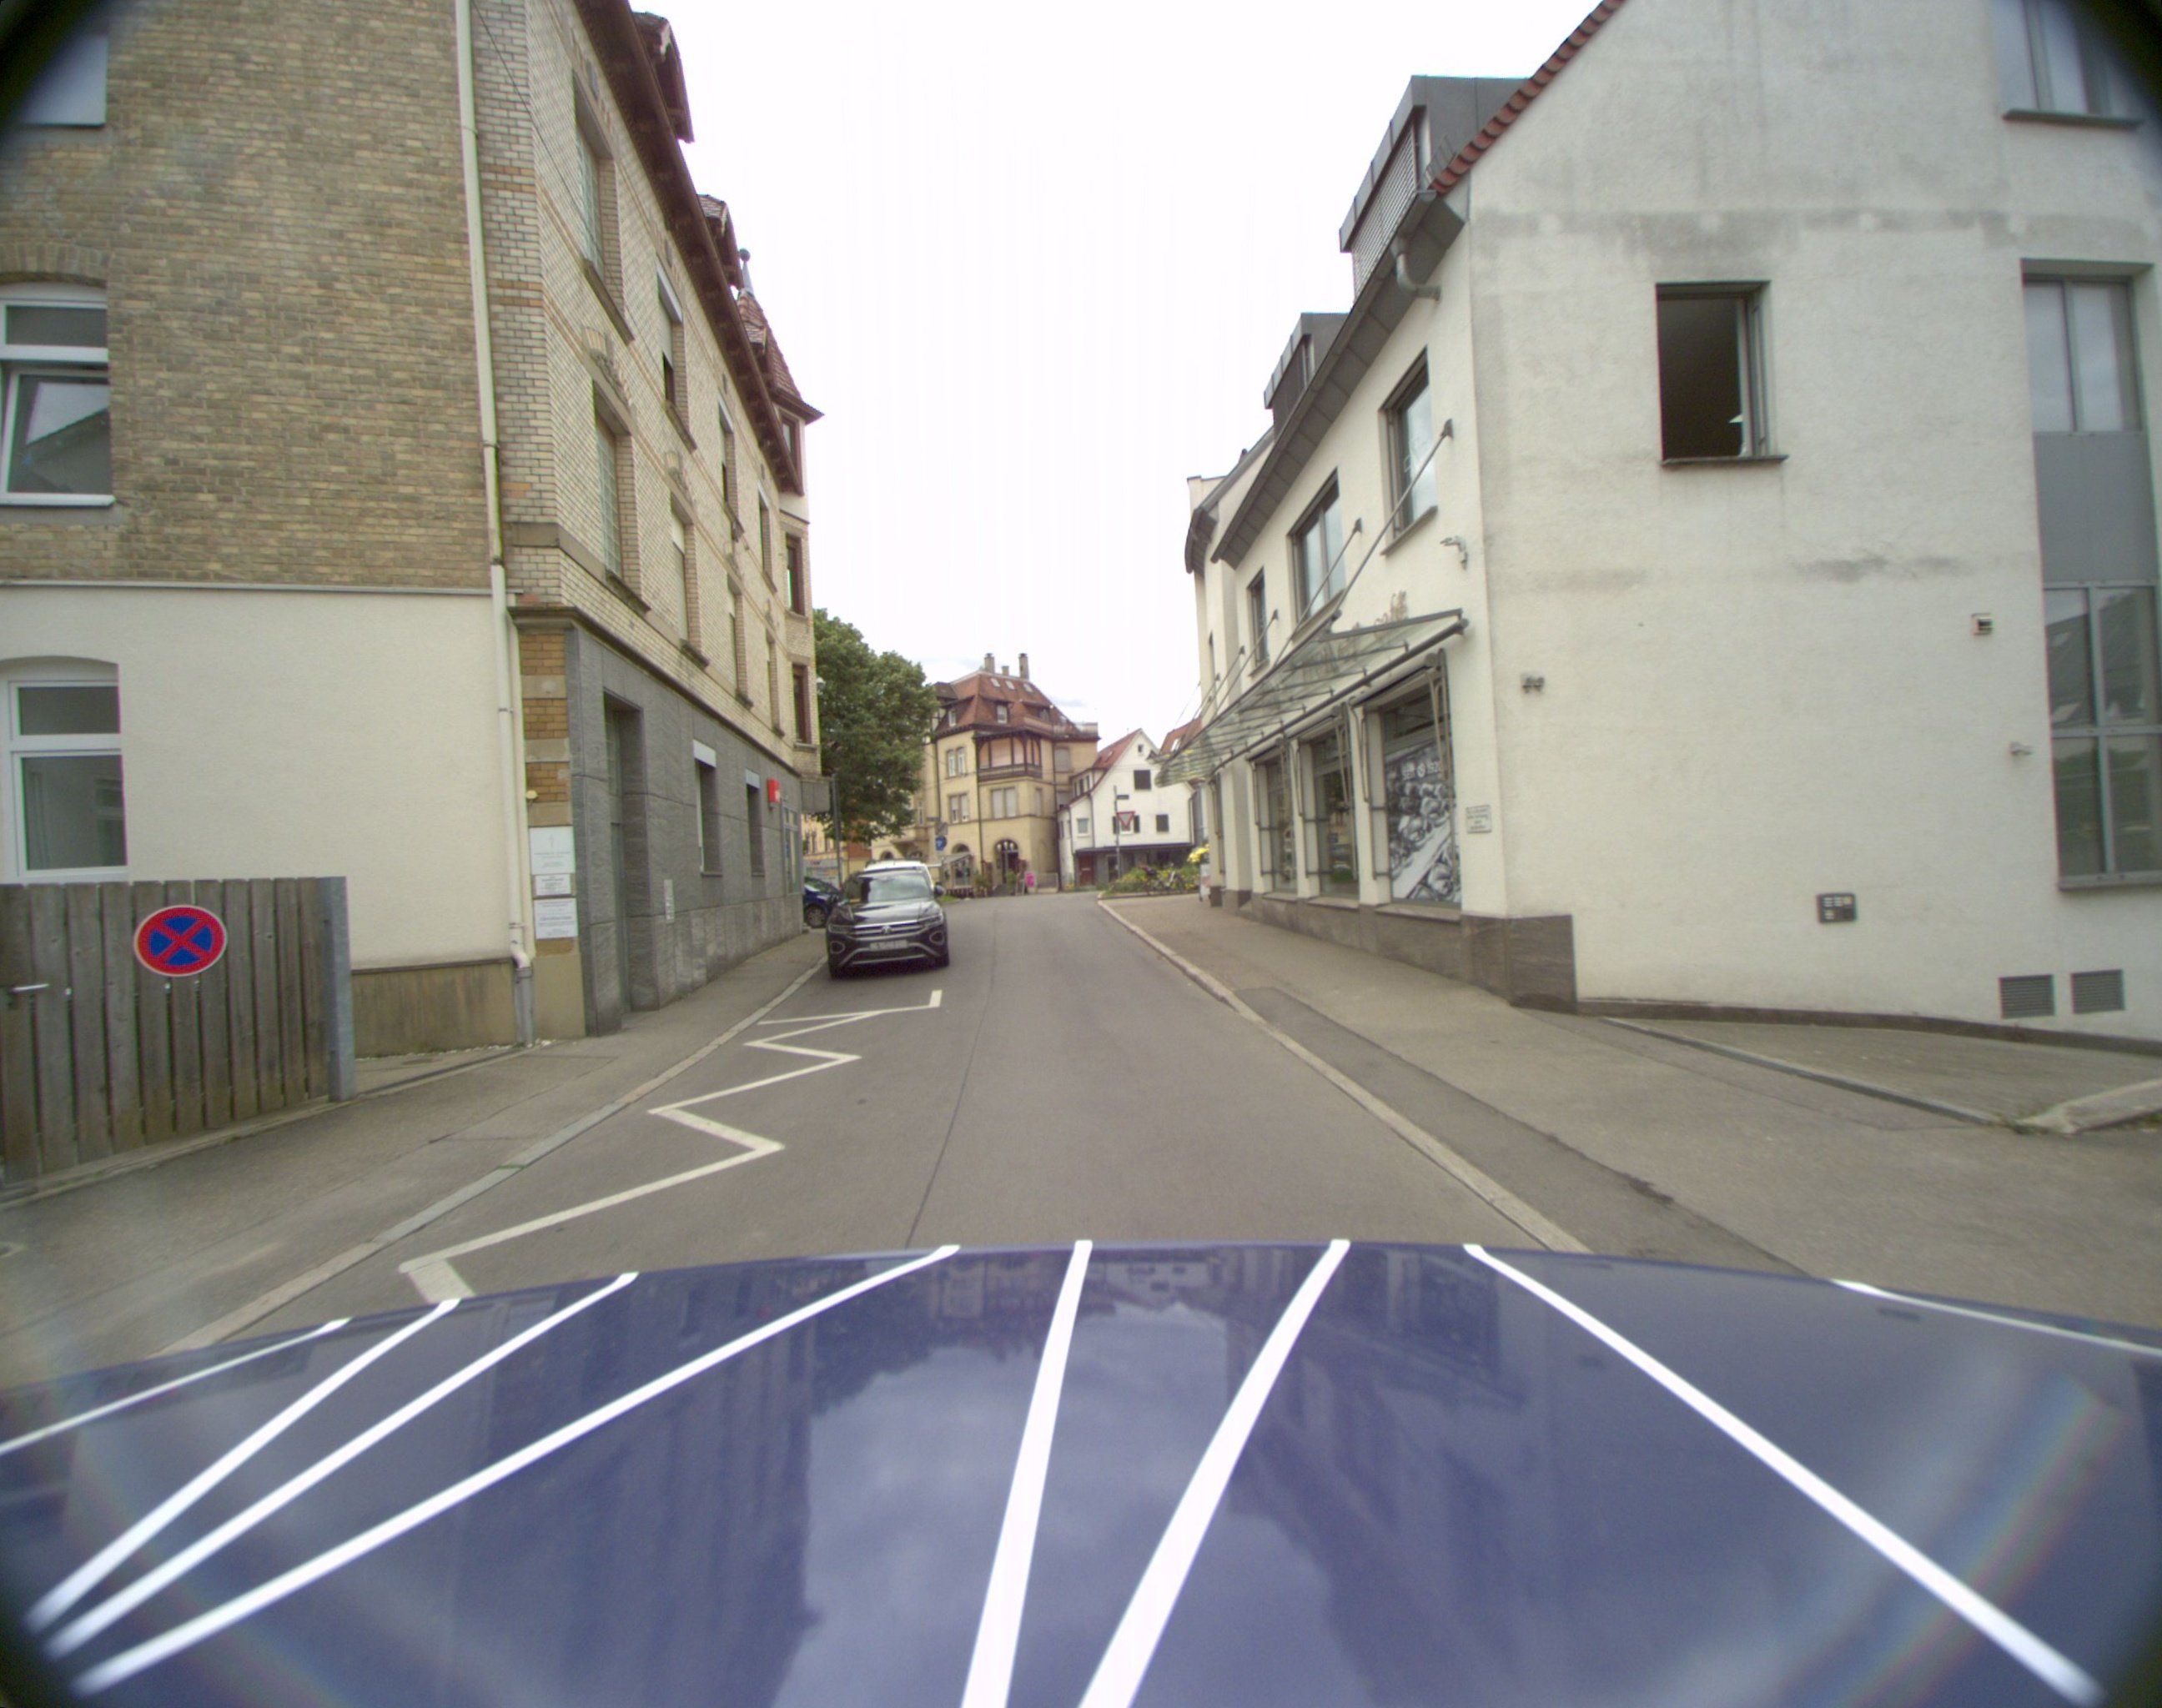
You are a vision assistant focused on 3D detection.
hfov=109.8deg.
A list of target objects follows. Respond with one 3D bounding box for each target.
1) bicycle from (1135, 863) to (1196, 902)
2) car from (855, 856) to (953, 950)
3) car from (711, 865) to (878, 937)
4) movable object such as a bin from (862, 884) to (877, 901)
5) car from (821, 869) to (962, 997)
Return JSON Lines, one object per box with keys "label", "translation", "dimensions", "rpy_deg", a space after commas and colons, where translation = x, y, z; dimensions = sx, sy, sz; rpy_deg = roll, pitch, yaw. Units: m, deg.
{"label": "bicycle", "translation": [3.028, 1.002, 27.248], "dimensions": [1.982, 1.232, 0.743], "rpy_deg": [-4, -1, -20]}
{"label": "car", "translation": [-4.165, 1.036, 17.570], "dimensions": [1.832, 1.781, 4.213], "rpy_deg": [-4, 0, -15]}
{"label": "car", "translation": [-8.206, 1.329, 21.890], "dimensions": [4.015, 1.694, 1.864], "rpy_deg": [-4, 1, 14]}
{"label": "movable object such as a bin", "translation": [-18.747, 3.432, 67.391], "dimensions": [0.946, 1.371, 0.821], "rpy_deg": [-6, 4, -38]}
{"label": "car", "translation": [-3.163, 1.125, 12.755], "dimensions": [1.794, 1.591, 4.537], "rpy_deg": [-4, 0, -14]}
